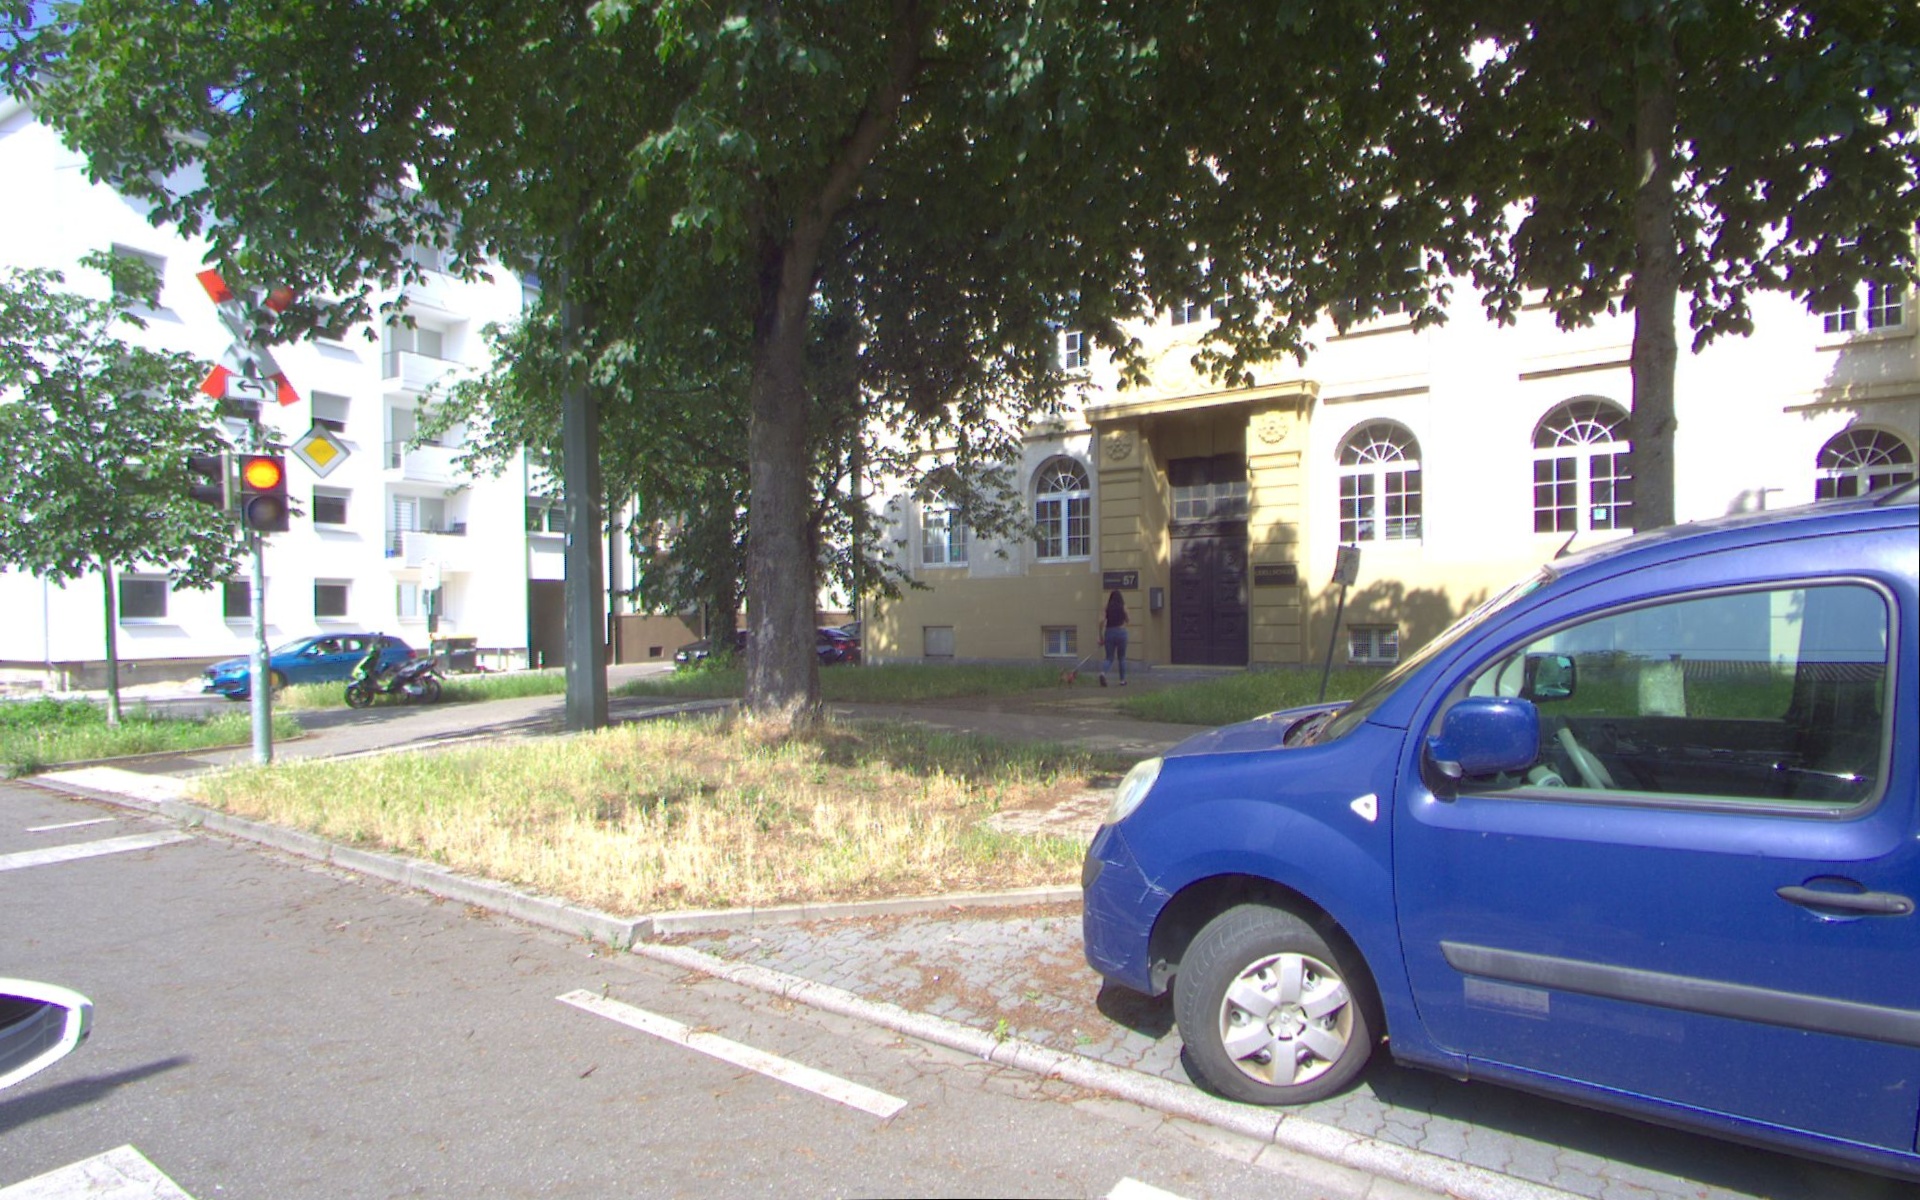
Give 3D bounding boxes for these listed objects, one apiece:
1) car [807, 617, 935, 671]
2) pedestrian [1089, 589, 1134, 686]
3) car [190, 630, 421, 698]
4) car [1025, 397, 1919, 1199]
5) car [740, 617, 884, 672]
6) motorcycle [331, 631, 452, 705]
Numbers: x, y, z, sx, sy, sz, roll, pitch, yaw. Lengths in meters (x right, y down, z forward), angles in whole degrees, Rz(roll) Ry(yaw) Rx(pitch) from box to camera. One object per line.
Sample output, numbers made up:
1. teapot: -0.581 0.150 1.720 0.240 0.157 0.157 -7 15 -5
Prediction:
1. car: -2.825 1.326 31.333 3.955 1.560 1.797 -1 -1 42
2. pedestrian: 2.575 0.632 17.007 0.532 1.617 0.630 -1 0 31
3. car: -15.069 1.440 23.298 1.755 1.430 4.160 -1 -3 32
4. car: 2.415 0.535 2.839 4.128 1.921 1.816 0 1 36
5. car: -4.300 1.258 28.938 3.942 1.478 1.736 -1 0 32
6. motorcycle: -10.392 1.239 18.355 1.811 1.233 0.571 -2 4 0
